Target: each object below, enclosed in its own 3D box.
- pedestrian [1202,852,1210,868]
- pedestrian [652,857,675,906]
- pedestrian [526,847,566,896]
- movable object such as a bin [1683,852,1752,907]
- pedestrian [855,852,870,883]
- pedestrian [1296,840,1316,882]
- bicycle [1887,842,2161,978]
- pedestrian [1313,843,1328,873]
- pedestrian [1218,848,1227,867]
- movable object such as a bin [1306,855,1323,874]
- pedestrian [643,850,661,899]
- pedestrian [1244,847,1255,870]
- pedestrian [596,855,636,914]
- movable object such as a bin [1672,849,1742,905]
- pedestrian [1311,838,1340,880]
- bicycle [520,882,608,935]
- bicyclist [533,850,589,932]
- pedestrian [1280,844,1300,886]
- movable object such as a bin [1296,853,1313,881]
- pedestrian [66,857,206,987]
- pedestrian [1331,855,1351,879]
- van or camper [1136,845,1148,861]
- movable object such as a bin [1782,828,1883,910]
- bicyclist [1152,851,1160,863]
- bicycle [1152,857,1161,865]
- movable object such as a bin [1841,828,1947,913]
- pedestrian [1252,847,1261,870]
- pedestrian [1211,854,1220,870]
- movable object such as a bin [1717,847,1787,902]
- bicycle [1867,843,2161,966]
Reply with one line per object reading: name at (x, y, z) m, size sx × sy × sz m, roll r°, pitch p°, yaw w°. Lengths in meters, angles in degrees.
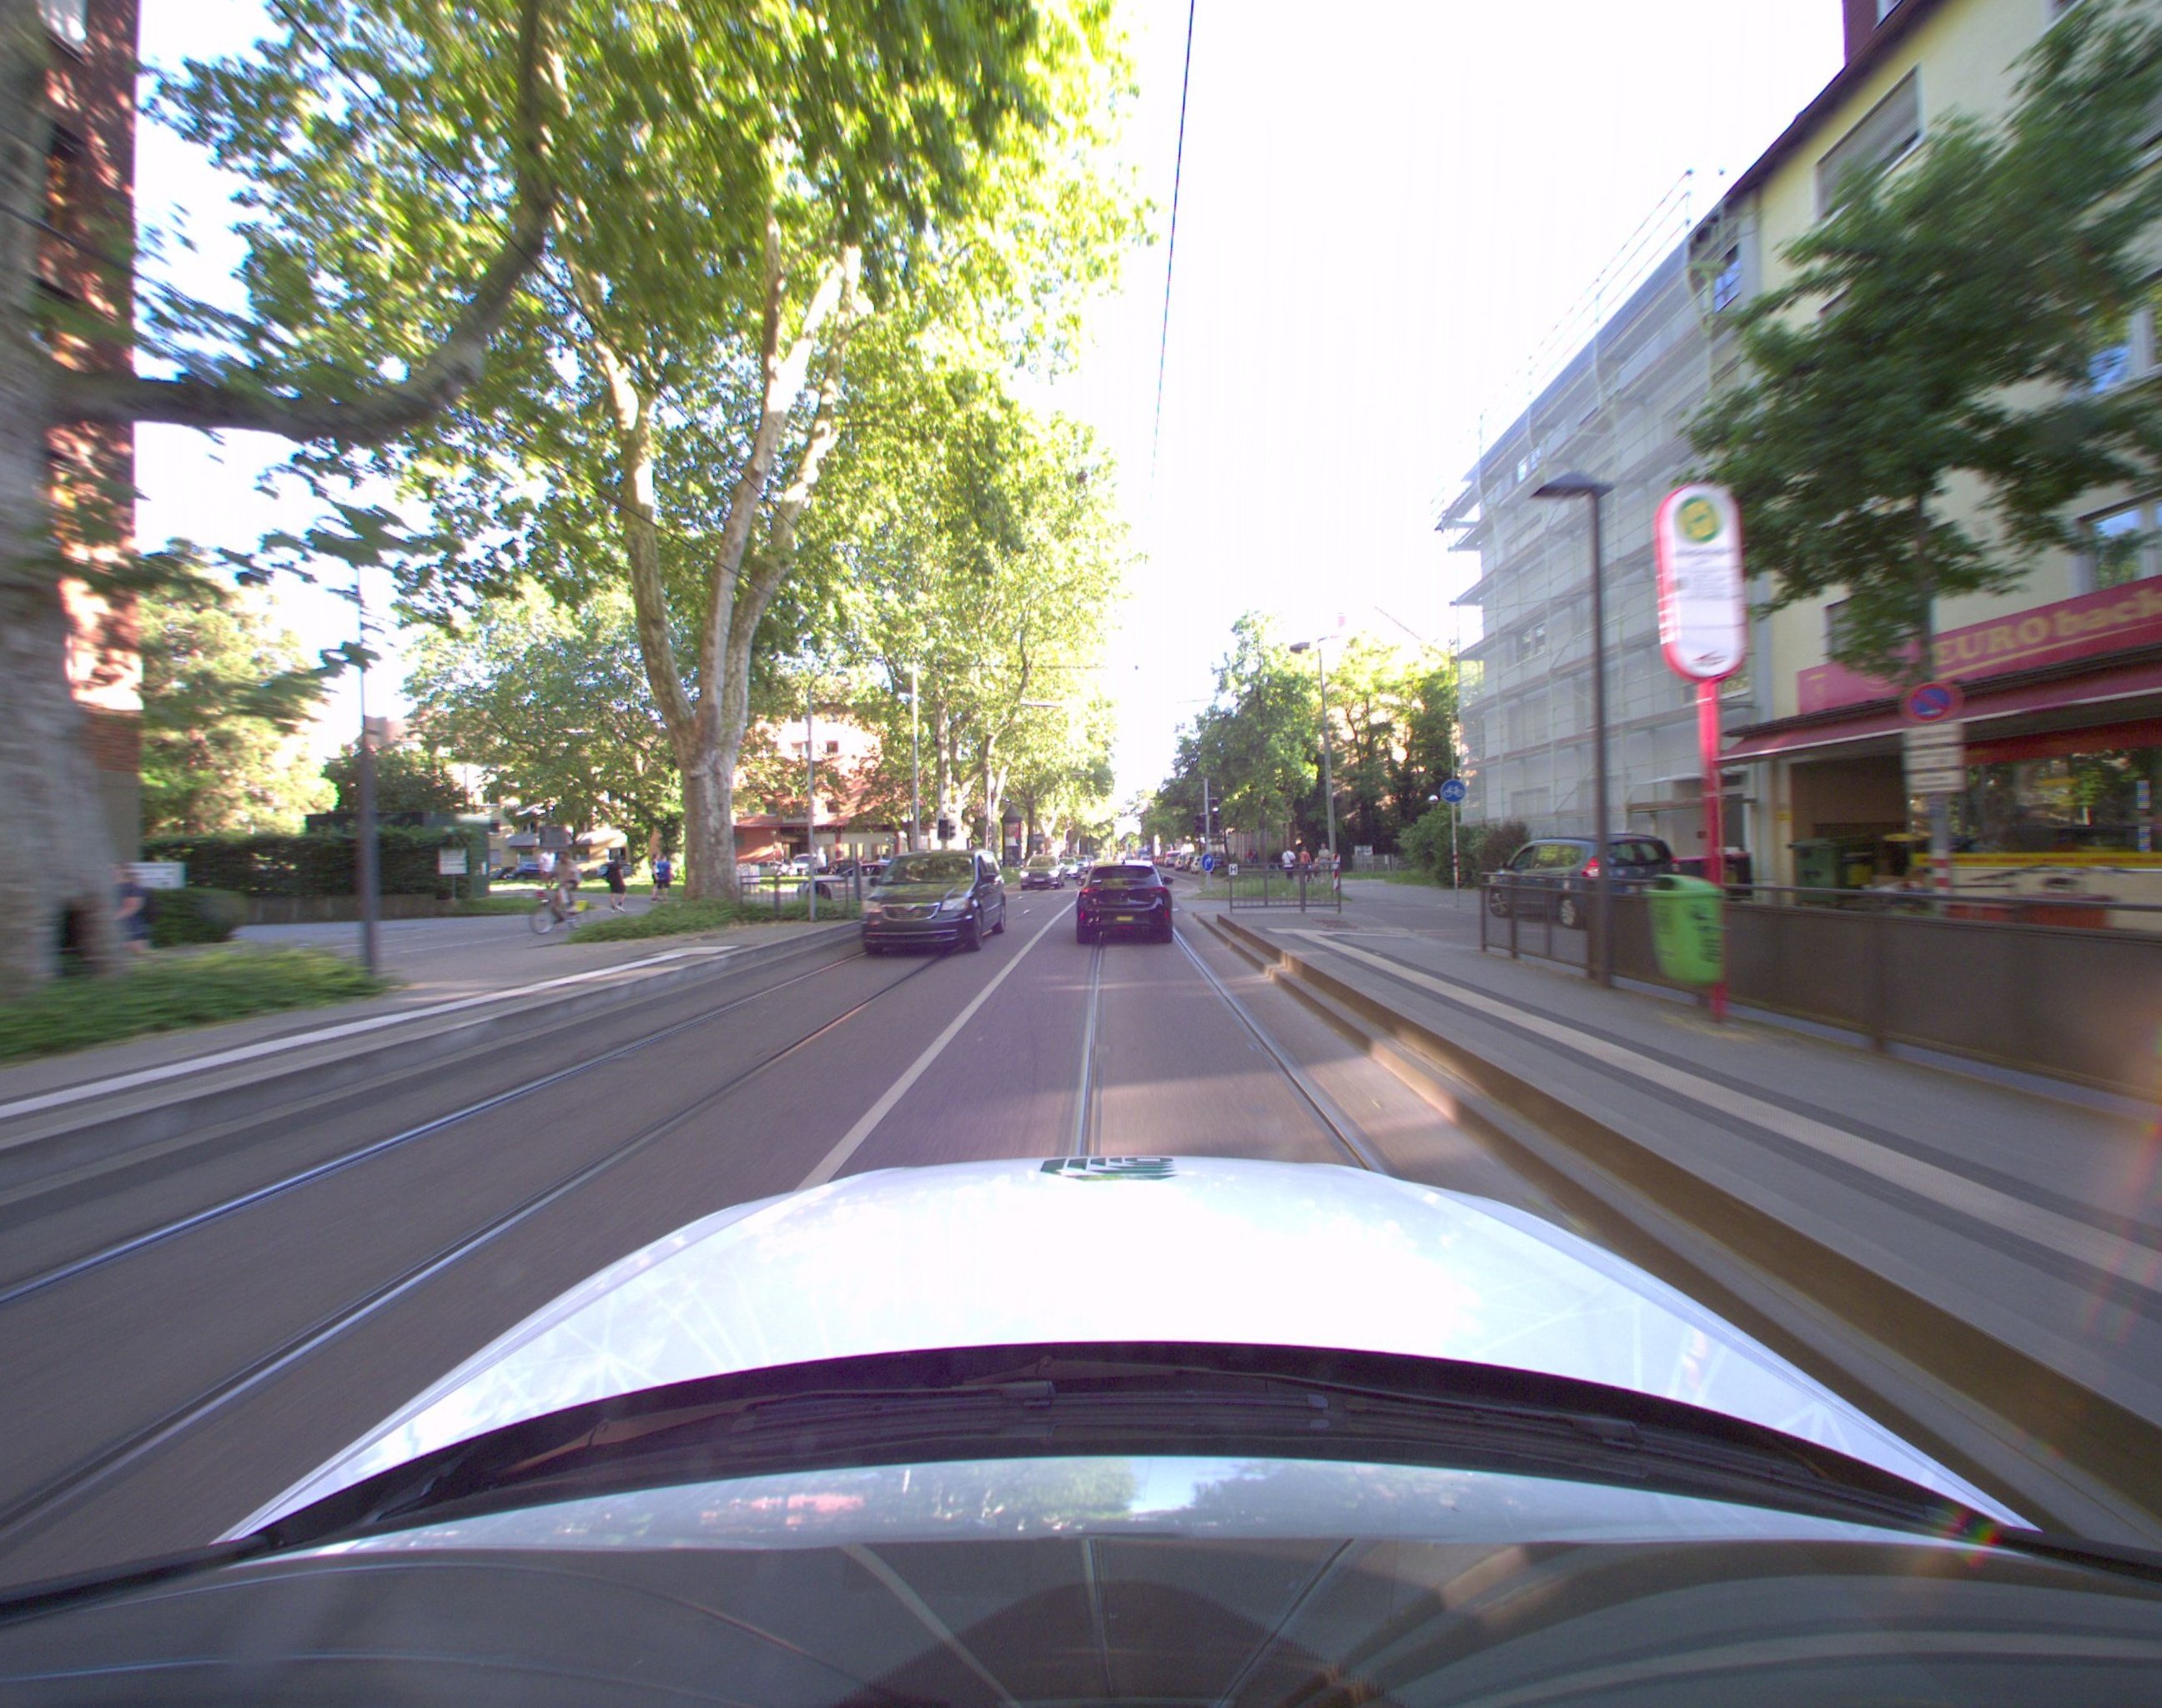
pedestrian at (12.705, 0.612, 83.109) m, size 0.723 × 1.693 × 0.958 m, roll 0°, pitch -1°, yaw 4°
pedestrian at (-14.373, 0.925, 28.044) m, size 0.697 × 1.659 × 0.558 m, roll 0°, pitch -1°, yaw -25°
pedestrian at (-19.651, 0.631, 29.918) m, size 0.835 × 1.737 × 0.921 m, roll -1°, pitch -1°, yaw 30°
movable object such as a bin at (13.603, 0.527, 17.425) m, size 0.878 × 1.110 × 0.697 m, roll -3°, pitch 0°, yaw -1°
pedestrian at (-12.797, 0.807, 47.717) m, size 0.640 × 1.809 × 0.753 m, roll 0°, pitch -1°, yaw 7°
pedestrian at (10.025, 0.295, 36.236) m, size 0.721 × 1.793 × 0.971 m, roll -3°, pitch 0°, yaw 12°
bicycle at (9.890, 0.538, 8.330) m, size 2.196 × 1.209 × 1.030 m, roll -3°, pitch -1°, yaw 1°
pedestrian at (13.661, 0.213, 46.411) m, size 0.618 × 1.725 × 0.552 m, roll 0°, pitch -1°, yaw -13°
pedestrian at (13.800, 0.324, 79.304) m, size 0.719 × 1.793 × 0.604 m, roll -1°, pitch -1°, yaw 25°
movable object such as a bin at (13.580, 0.599, 47.320) m, size 0.664 × 1.126 × 0.955 m, roll 0°, pitch 0°, yaw -6°
pedestrian at (-15.236, 0.720, 28.904) m, size 0.535 × 1.705 × 0.587 m, roll 0°, pitch -1°, yaw -30°
pedestrian at (13.239, 0.366, 63.935) m, size 0.593 × 1.793 × 0.733 m, roll -1°, pitch -1°, yaw 30°
pedestrian at (-13.538, 0.871, 23.740) m, size 0.707 × 1.673 × 0.779 m, roll 0°, pitch -1°, yaw 1°
movable object such as a bin at (12.969, 0.470, 16.893) m, size 0.878 × 1.110 × 0.697 m, roll -3°, pitch 0°, yaw -1°
pedestrian at (11.247, 0.240, 37.425) m, size 0.869 × 1.885 × 0.992 m, roll 0°, pitch -1°, yaw -16°
bicycle at (-11.534, 1.197, 18.242) m, size 0.712 × 1.063 × 1.841 m, roll 0°, pitch 0°, yaw 3°
bicyclist at (-11.549, 0.804, 18.110) m, size 0.697 × 1.788 × 0.839 m, roll 0°, pitch -1°, yaw 3°
pedestrian at (9.275, 0.493, 36.191) m, size 0.721 × 1.793 × 0.856 m, roll -3°, pitch 0°, yaw 12°
movable object such as a bin at (10.236, 0.575, 37.294) m, size 0.634 × 1.202 × 1.309 m, roll -3°, pitch 0°, yaw 13°
pedestrian at (-12.679, 0.872, 10.961) m, size 0.735 × 1.672 × 0.969 m, roll 0°, pitch 0°, yaw 3°
pedestrian at (11.948, 0.599, 37.444) m, size 0.674 × 1.118 × 0.658 m, roll 0°, pitch -1°, yaw -9°
van or camper at (12.766, -0.142, 170.843) m, size 2.245 × 3.216 × 5.533 m, roll -2°, pitch 0°, yaw 2°
movable object such as a bin at (13.480, 0.265, 14.630) m, size 0.996 × 1.397 × 0.824 m, roll -3°, pitch -1°, yaw -1°
bicyclist at (9.505, 0.408, 103.031) m, size 0.955 × 1.499 × 1.094 m, roll 0°, pitch -1°, yaw 0°
bicycle at (9.517, 0.924, 103.049) m, size 0.964 × 0.999 × 2.583 m, roll 0°, pitch 0°, yaw 0°
movable object such as a bin at (13.724, 0.278, 13.770) m, size 0.920 × 1.350 × 0.824 m, roll -3°, pitch -1°, yaw -1°
pedestrian at (13.623, 0.339, 63.211) m, size 0.597 × 1.793 × 0.728 m, roll 0°, pitch -1°, yaw -1°
pedestrian at (13.677, 0.811, 82.822) m, size 0.723 × 1.709 × 0.856 m, roll 0°, pitch -1°, yaw 0°
movable object such as a bin at (14.338, 0.437, 17.417) m, size 0.878 × 1.110 × 0.697 m, roll -3°, pitch 0°, yaw -1°
bicycle at (10.603, 0.535, 9.304) m, size 0.686 × 1.209 × 2.192 m, roll -3°, pitch -1°, yaw -26°
